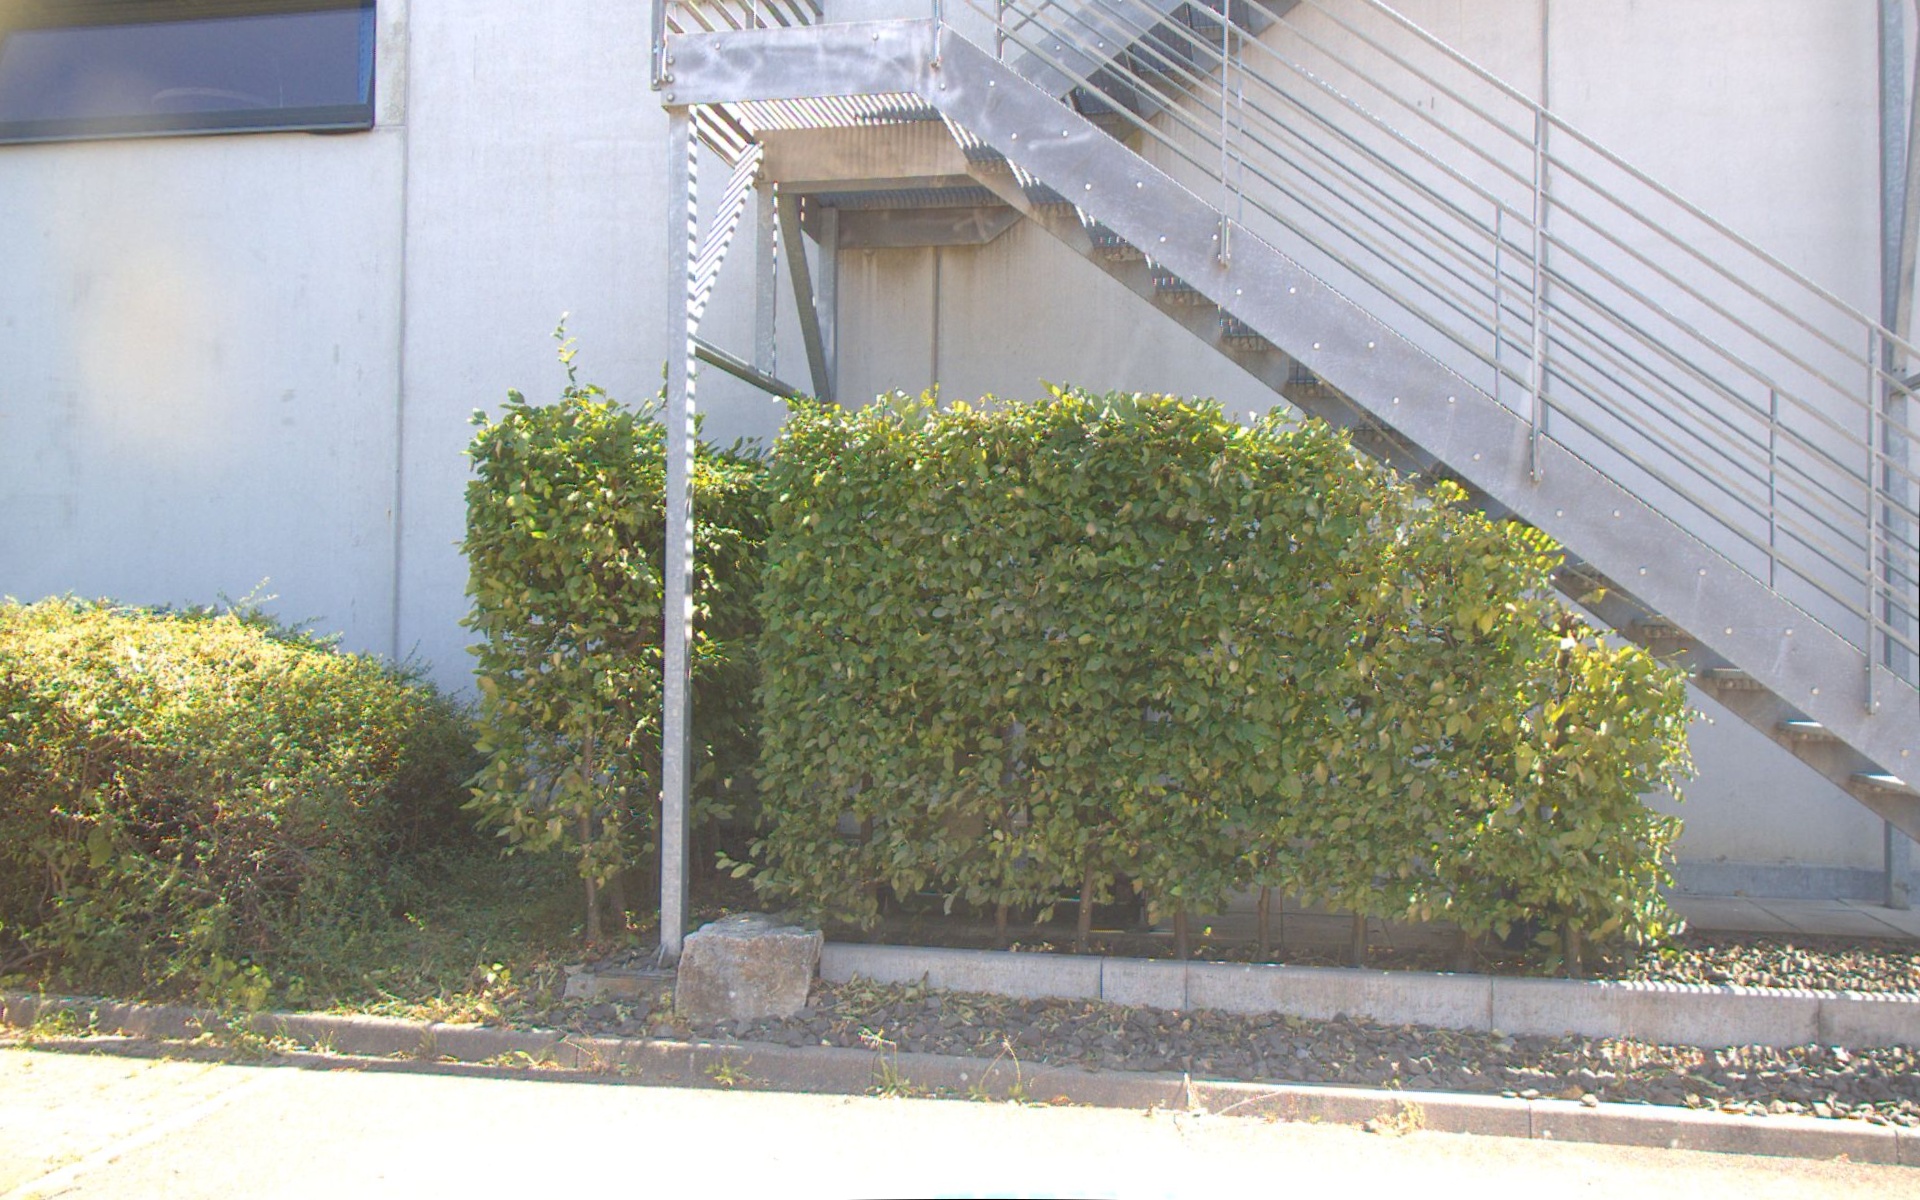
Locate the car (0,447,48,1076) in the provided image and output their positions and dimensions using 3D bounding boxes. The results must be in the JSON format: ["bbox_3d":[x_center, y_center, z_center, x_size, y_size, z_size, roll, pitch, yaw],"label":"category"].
[{"bbox_3d":[-5.001,0.476,4.782,3.971,1.917,1.680,0,0,11],"label":"car"}]
